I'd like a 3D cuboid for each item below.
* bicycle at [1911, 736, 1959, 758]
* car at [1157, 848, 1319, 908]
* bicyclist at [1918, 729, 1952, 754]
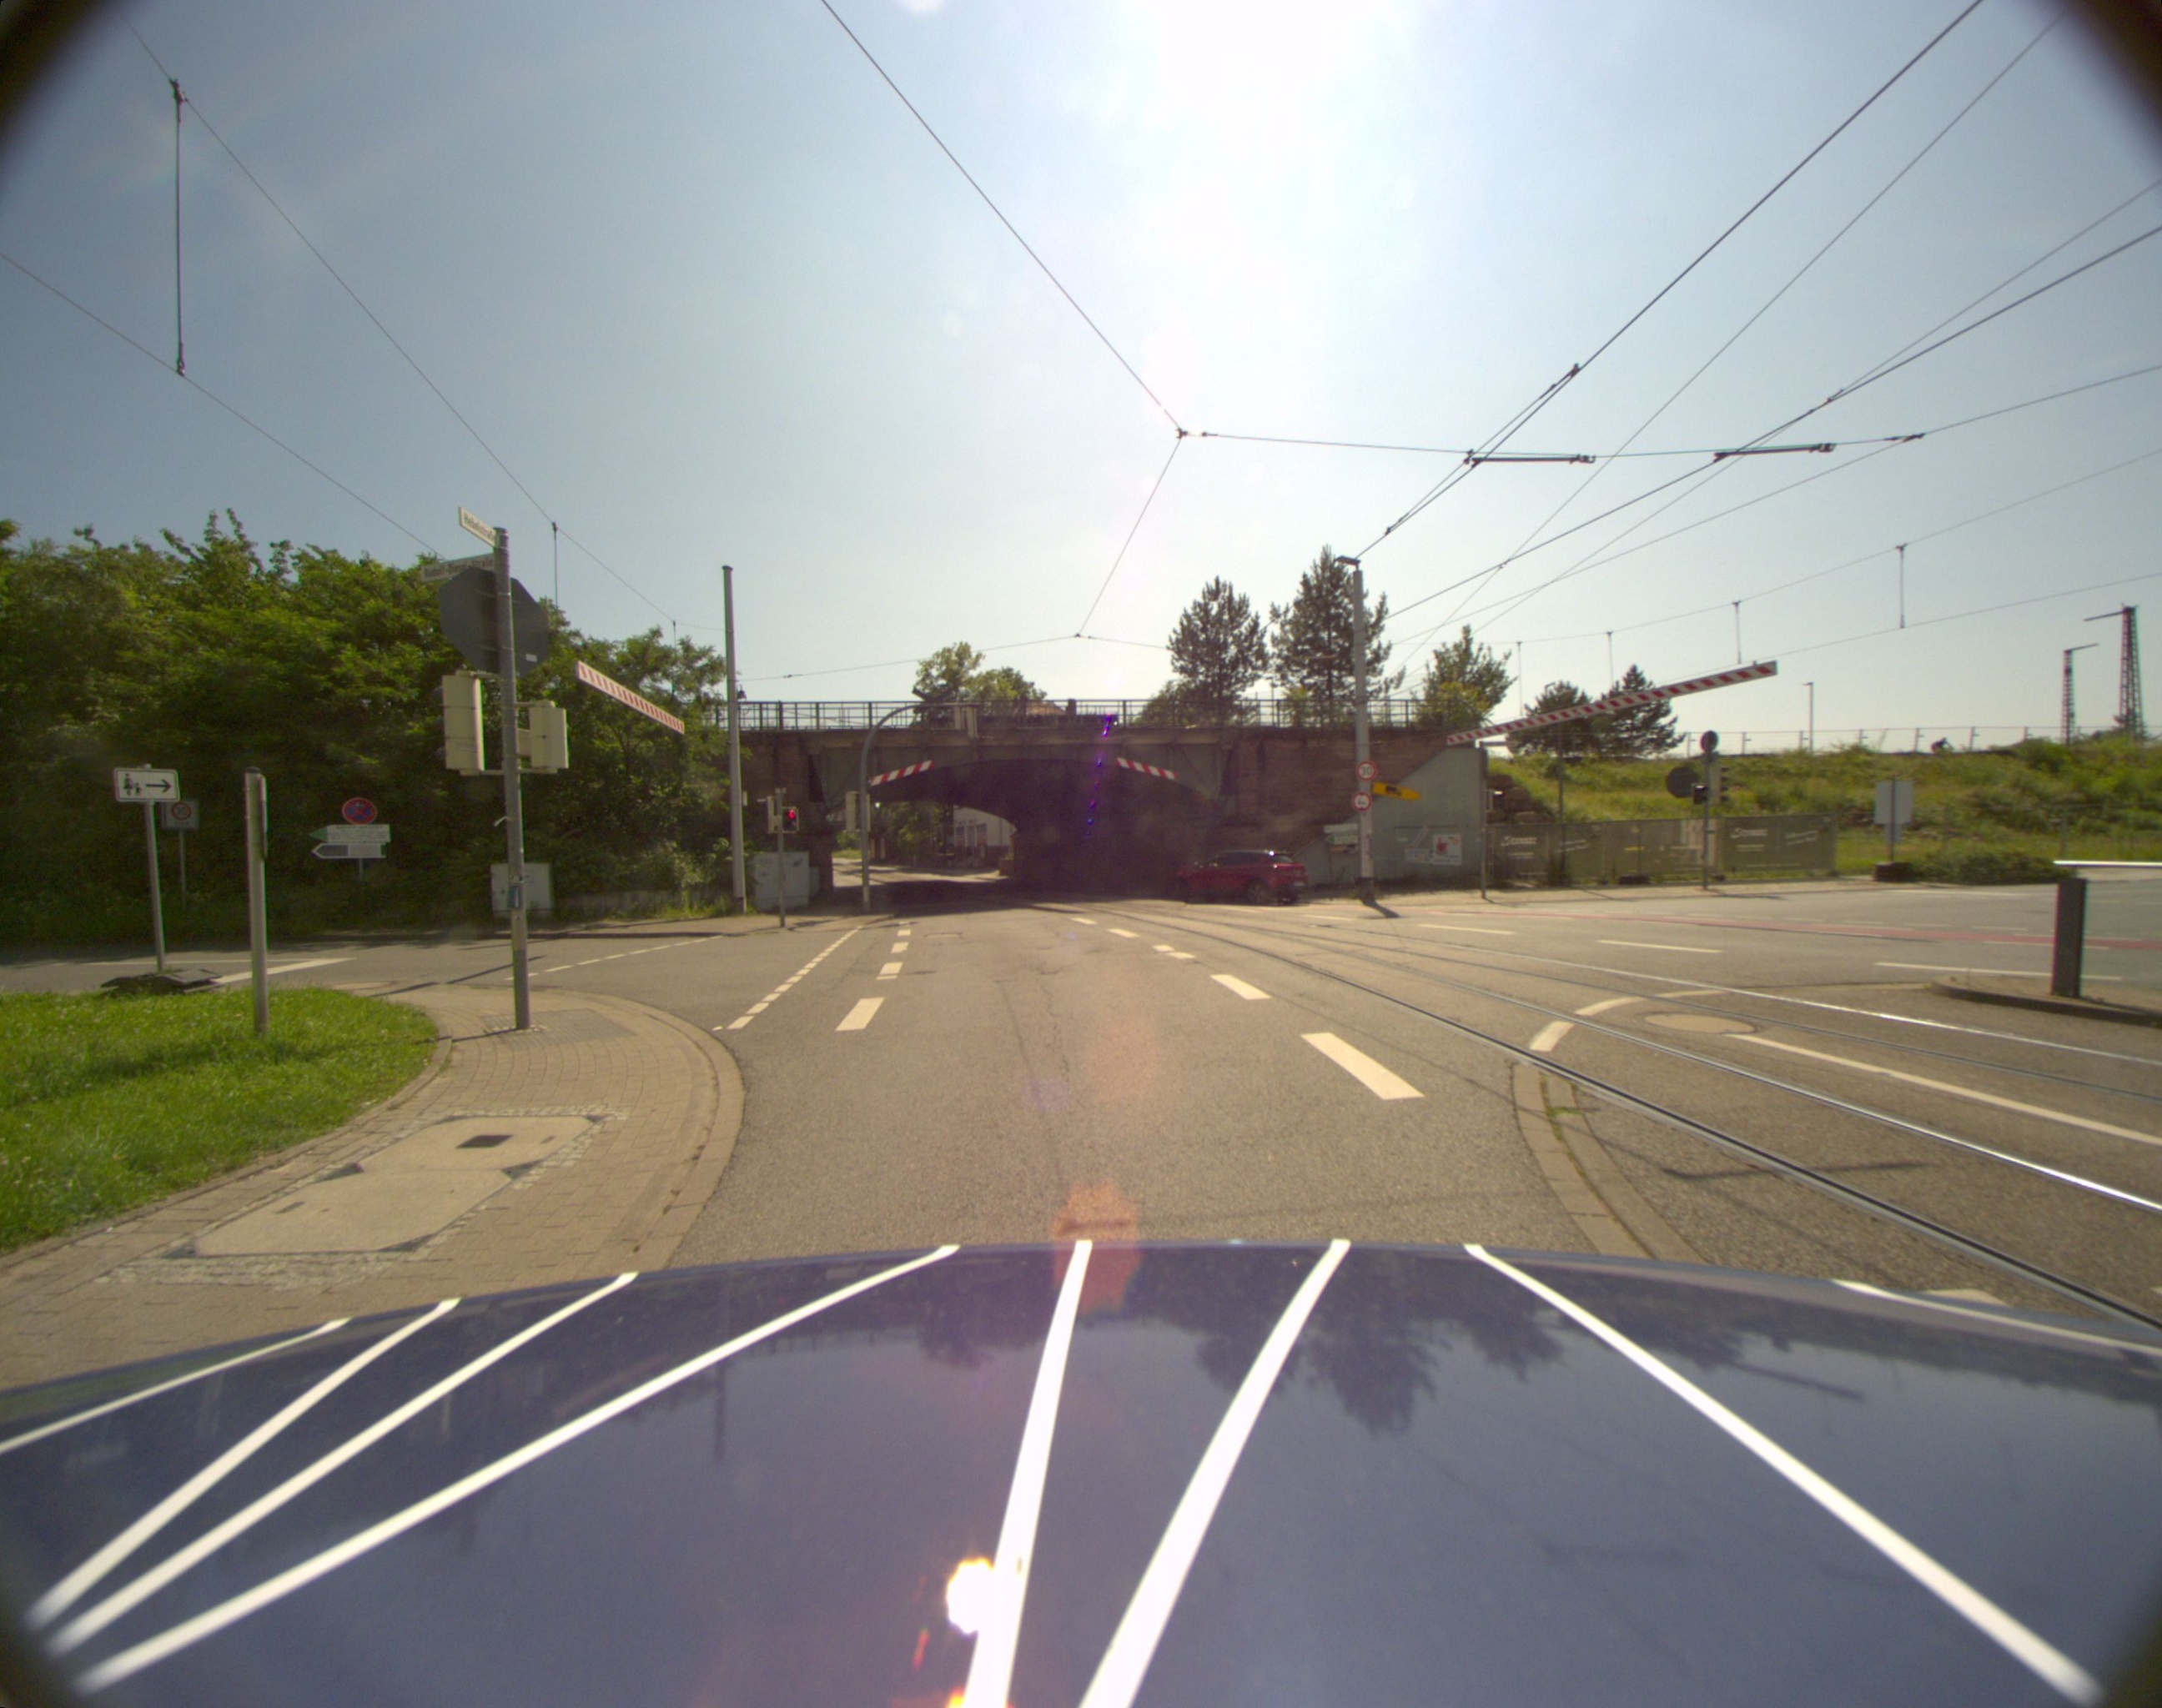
[{"bbox_3d":[54.304,-6.828,48.313,2.174,1.206,0.937,-3,0,-8],"label":"bicycle"},{"bbox_3d":[4.533,0.710,22.308,4.295,1.594,1.827,-2,-1,41],"label":"car"},{"bbox_3d":[54.310,-7.161,48.319,1.063,1.380,0.952,-3,0,-8],"label":"bicyclist"}]
